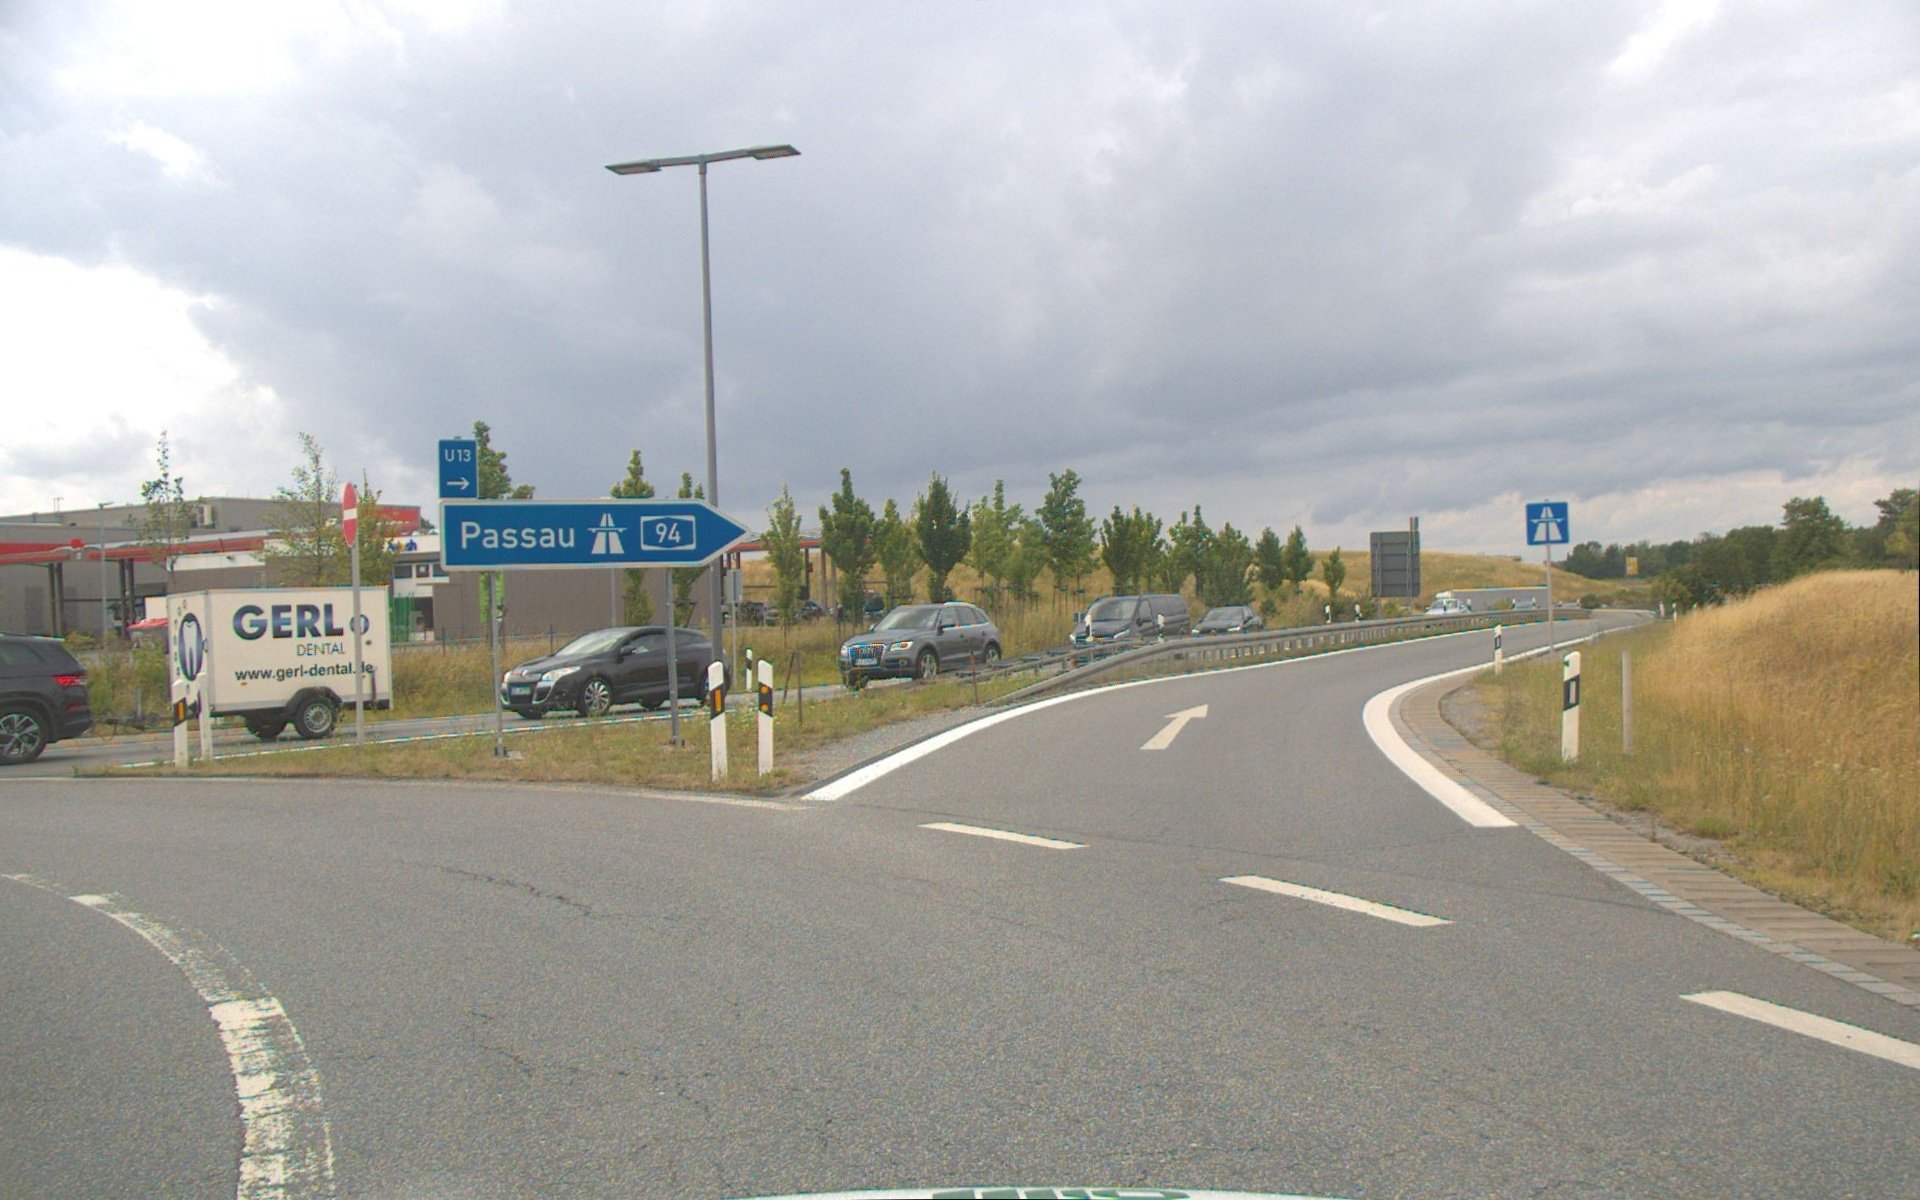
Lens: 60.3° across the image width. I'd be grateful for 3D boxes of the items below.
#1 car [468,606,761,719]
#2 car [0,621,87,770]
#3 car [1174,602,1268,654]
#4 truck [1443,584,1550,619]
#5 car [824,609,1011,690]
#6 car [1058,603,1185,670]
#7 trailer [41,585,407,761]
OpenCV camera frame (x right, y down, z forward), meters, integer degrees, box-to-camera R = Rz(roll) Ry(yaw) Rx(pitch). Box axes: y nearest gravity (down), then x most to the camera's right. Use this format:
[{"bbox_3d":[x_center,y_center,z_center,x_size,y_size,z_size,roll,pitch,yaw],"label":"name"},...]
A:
[{"bbox_3d":[-5.701,1.008,27.744,1.963,1.713,4.567,-3,-2,40],"label":"car"},{"bbox_3d":[-13.339,1.182,19.968,4.643,1.790,1.969,0,0,-42],"label":"car"},{"bbox_3d":[9.376,0.991,59.091,1.955,1.713,4.587,-3,-2,27],"label":"car"},{"bbox_3d":[78.973,0.215,243.605,14.958,5.048,3.450,0,0,18],"label":"truck"},{"bbox_3d":[-0.788,0.950,33.871,1.698,1.517,4.532,0,0,31],"label":"car"},{"bbox_3d":[4.549,0.990,46.029,1.955,1.713,4.587,-3,-2,27],"label":"car"},{"bbox_3d":[-10.243,0.922,23.217,4.336,2.222,1.969,0,0,-43],"label":"trailer"}]
